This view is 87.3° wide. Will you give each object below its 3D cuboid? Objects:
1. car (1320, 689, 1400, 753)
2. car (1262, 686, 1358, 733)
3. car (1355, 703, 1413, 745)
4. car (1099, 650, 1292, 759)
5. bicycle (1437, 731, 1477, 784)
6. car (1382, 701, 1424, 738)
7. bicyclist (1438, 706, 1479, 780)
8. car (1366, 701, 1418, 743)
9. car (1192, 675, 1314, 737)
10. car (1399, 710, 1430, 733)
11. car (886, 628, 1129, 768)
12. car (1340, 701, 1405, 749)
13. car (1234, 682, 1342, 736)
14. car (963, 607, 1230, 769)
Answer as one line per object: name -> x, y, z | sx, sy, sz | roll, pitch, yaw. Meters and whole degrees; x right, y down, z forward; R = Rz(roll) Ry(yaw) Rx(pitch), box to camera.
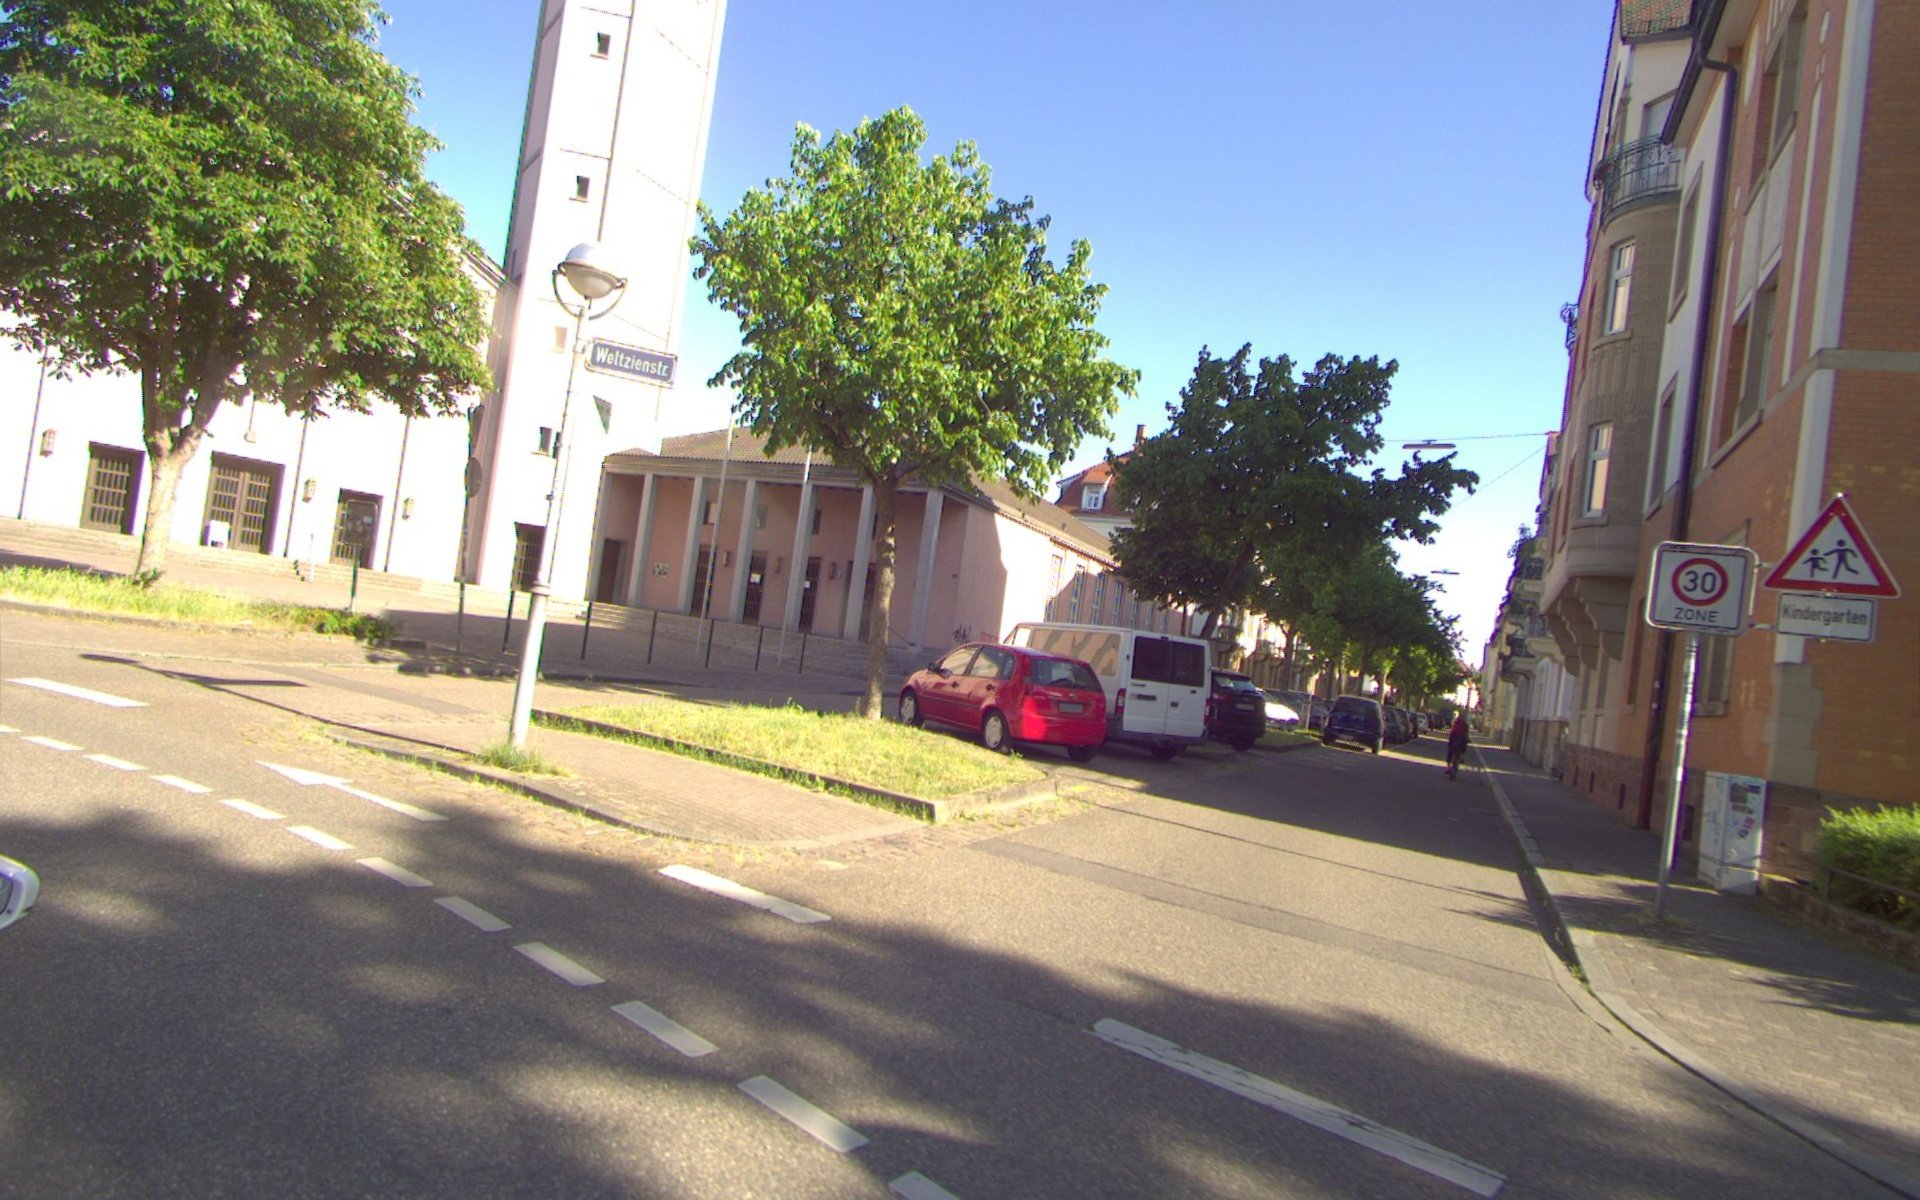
car -> 12.841, 3.858, 32.167 | 1.731, 1.676, 3.954 | 7, -2, 29
car -> 15.966, 4.966, 46.055 | 1.741, 1.513, 3.931 | 9, -2, -26
car -> 18.317, 5.333, 43.373 | 1.731, 1.472, 3.954 | 7, -2, 29
car -> 5.102, 2.247, 22.295 | 1.744, 1.758, 3.925 | 9, -2, -31
bicycle -> 12.263, 3.858, 24.847 | 0.686, 1.120, 1.874 | 7, -2, 25
car -> 26.048, 6.997, 59.057 | 1.731, 1.860, 3.953 | 7, -2, 29
bicyclist -> 12.291, 3.517, 24.820 | 0.686, 1.680, 0.650 | 7, -1, 25
car -> 20.654, 5.797, 47.997 | 1.731, 1.635, 3.954 | 7, -2, 29
car -> 10.152, 3.649, 35.103 | 1.741, 1.513, 3.931 | 9, -2, -26
car -> 34.296, 9.167, 75.879 | 1.731, 1.472, 3.954 | 7, -2, 29
car -> 0.555, 1.352, 14.687 | 1.652, 1.451, 3.667 | 9, -2, -31
car -> 15.848, 4.757, 38.546 | 1.731, 1.472, 3.954 | 7, -2, 29
car -> 13.164, 4.358, 40.569 | 1.741, 1.513, 3.931 | 9, -2, -26
car -> 2.140, 1.383, 17.288 | 1.972, 2.068, 4.674 | 9, -2, -28
